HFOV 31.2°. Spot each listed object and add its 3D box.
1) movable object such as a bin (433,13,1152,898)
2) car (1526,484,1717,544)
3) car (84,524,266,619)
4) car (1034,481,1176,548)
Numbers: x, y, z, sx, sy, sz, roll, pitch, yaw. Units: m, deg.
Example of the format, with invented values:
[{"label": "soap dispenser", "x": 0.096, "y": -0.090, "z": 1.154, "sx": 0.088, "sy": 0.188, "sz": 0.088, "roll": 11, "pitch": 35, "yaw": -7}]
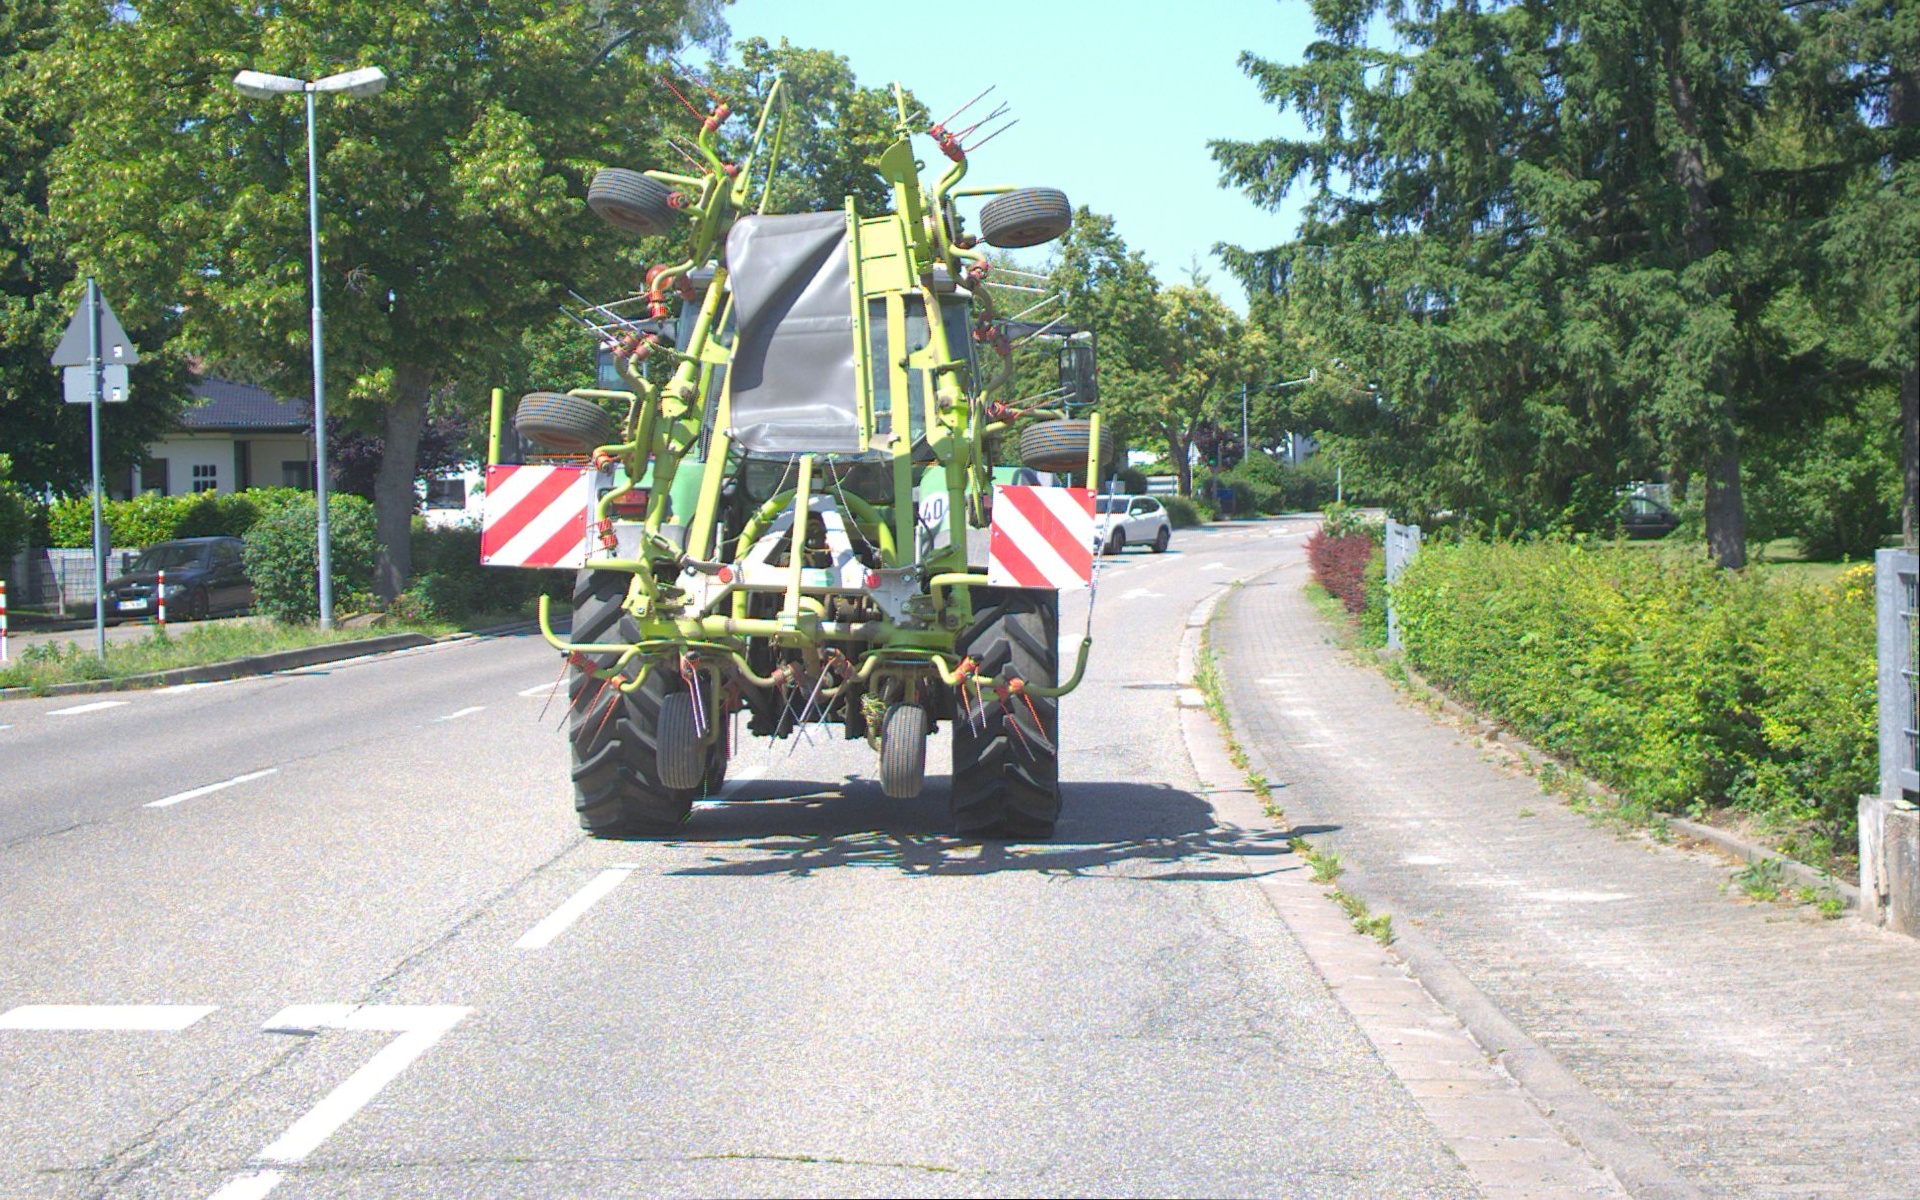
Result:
[{"label": "movable object such as a bin", "x": -0.590, "y": -0.693, "z": 18.694, "sx": 2.853, "sy": 3.529, "sz": 9.701, "roll": -1, "pitch": 1, "yaw": 1}, {"label": "car", "x": 14.709, "y": -1.920, "z": 76.492, "sx": 3.810, "sy": 1.290, "sz": 1.684, "roll": 0, "pitch": 2, "yaw": -10}, {"label": "car", "x": -13.190, "y": -0.507, "z": 57.965, "sx": 1.689, "sy": 1.525, "sz": 3.999, "roll": 0, "pitch": 2, "yaw": 7}, {"label": "car", "x": 3.825, "y": -2.265, "z": 90.230, "sx": 1.861, "sy": 1.709, "sz": 3.992, "roll": 0, "pitch": 2, "yaw": 35}]
